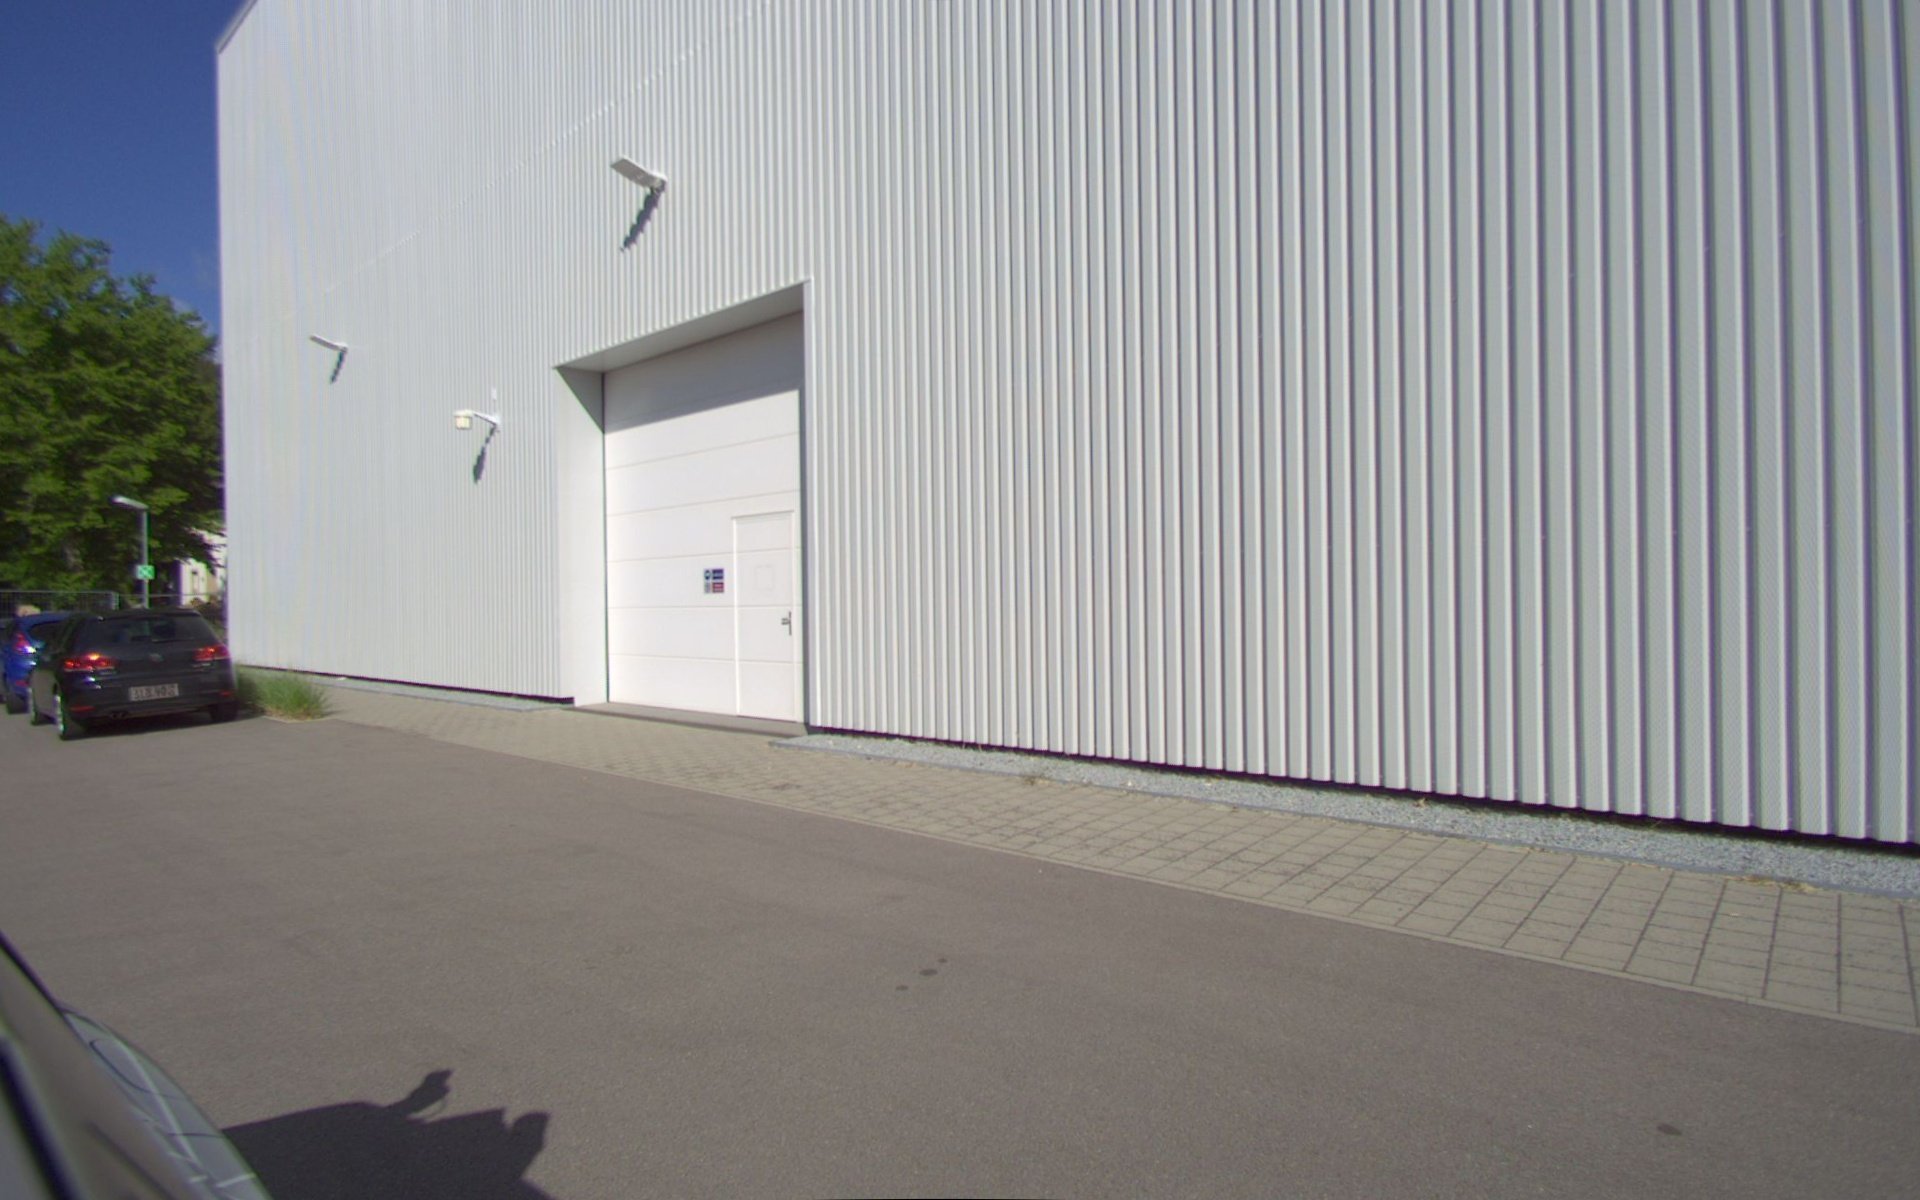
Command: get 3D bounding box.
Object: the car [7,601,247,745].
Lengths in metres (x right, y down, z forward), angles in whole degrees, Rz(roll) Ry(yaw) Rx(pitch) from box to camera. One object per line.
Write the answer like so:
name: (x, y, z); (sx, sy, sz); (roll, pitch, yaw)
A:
car: (-10.904, 0.828, 13.138); (4.292, 1.511, 1.736); (-1, 1, 42)

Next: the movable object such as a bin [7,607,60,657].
movable object such as a bin: (-31.205, 1.069, 34.080); (1.228, 1.609, 1.080); (1, 1, 36)

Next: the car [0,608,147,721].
car: (-14.635, 0.948, 16.303); (4.092, 1.511, 1.614); (-1, 2, 40)

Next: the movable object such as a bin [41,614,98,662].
movable object such as a bin: (-28.449, 1.200, 32.331); (1.228, 1.443, 1.080); (0, 2, 36)

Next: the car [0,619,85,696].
car: (-18.743, 1.086, 19.874); (4.051, 1.371, 1.756); (-1, 0, 41)

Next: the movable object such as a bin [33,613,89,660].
movable object such as a bin: (-29.475, 1.184, 33.183); (1.228, 1.450, 1.080); (0, 2, 36)
